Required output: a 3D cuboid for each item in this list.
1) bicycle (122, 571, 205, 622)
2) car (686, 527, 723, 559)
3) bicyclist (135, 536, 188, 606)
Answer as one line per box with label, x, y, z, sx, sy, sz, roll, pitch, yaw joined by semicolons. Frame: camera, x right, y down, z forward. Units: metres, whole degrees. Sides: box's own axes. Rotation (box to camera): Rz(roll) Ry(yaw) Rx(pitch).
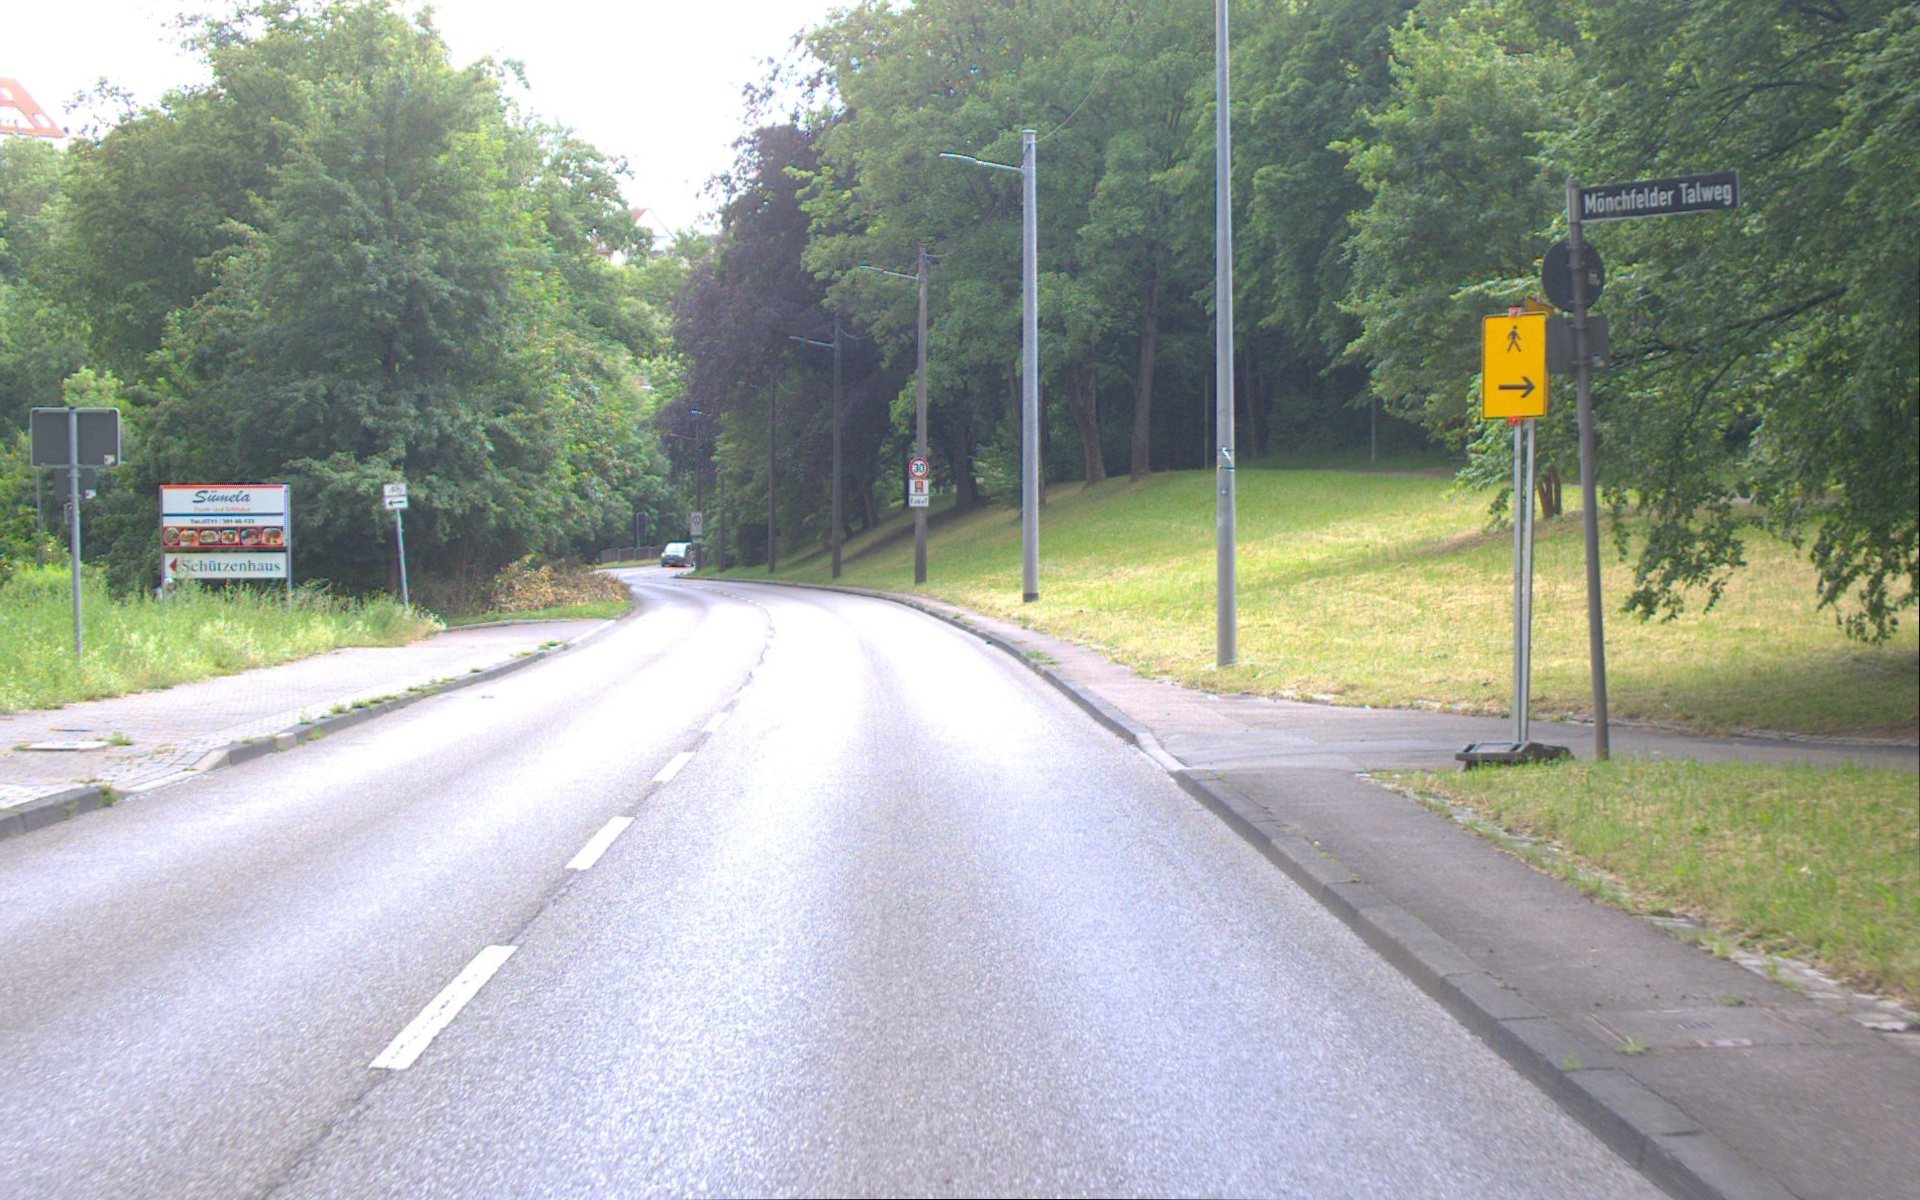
bicycle;-16.336;-0.076;70.466;0.829;1.033;2.443;1;0;-34
car;-16.634;-3.681;223.893;1.993;2.007;4.000;1;0;2
bicyclist;-16.383;-0.587;70.546;0.826;1.423;0.781;-1;0;-34
